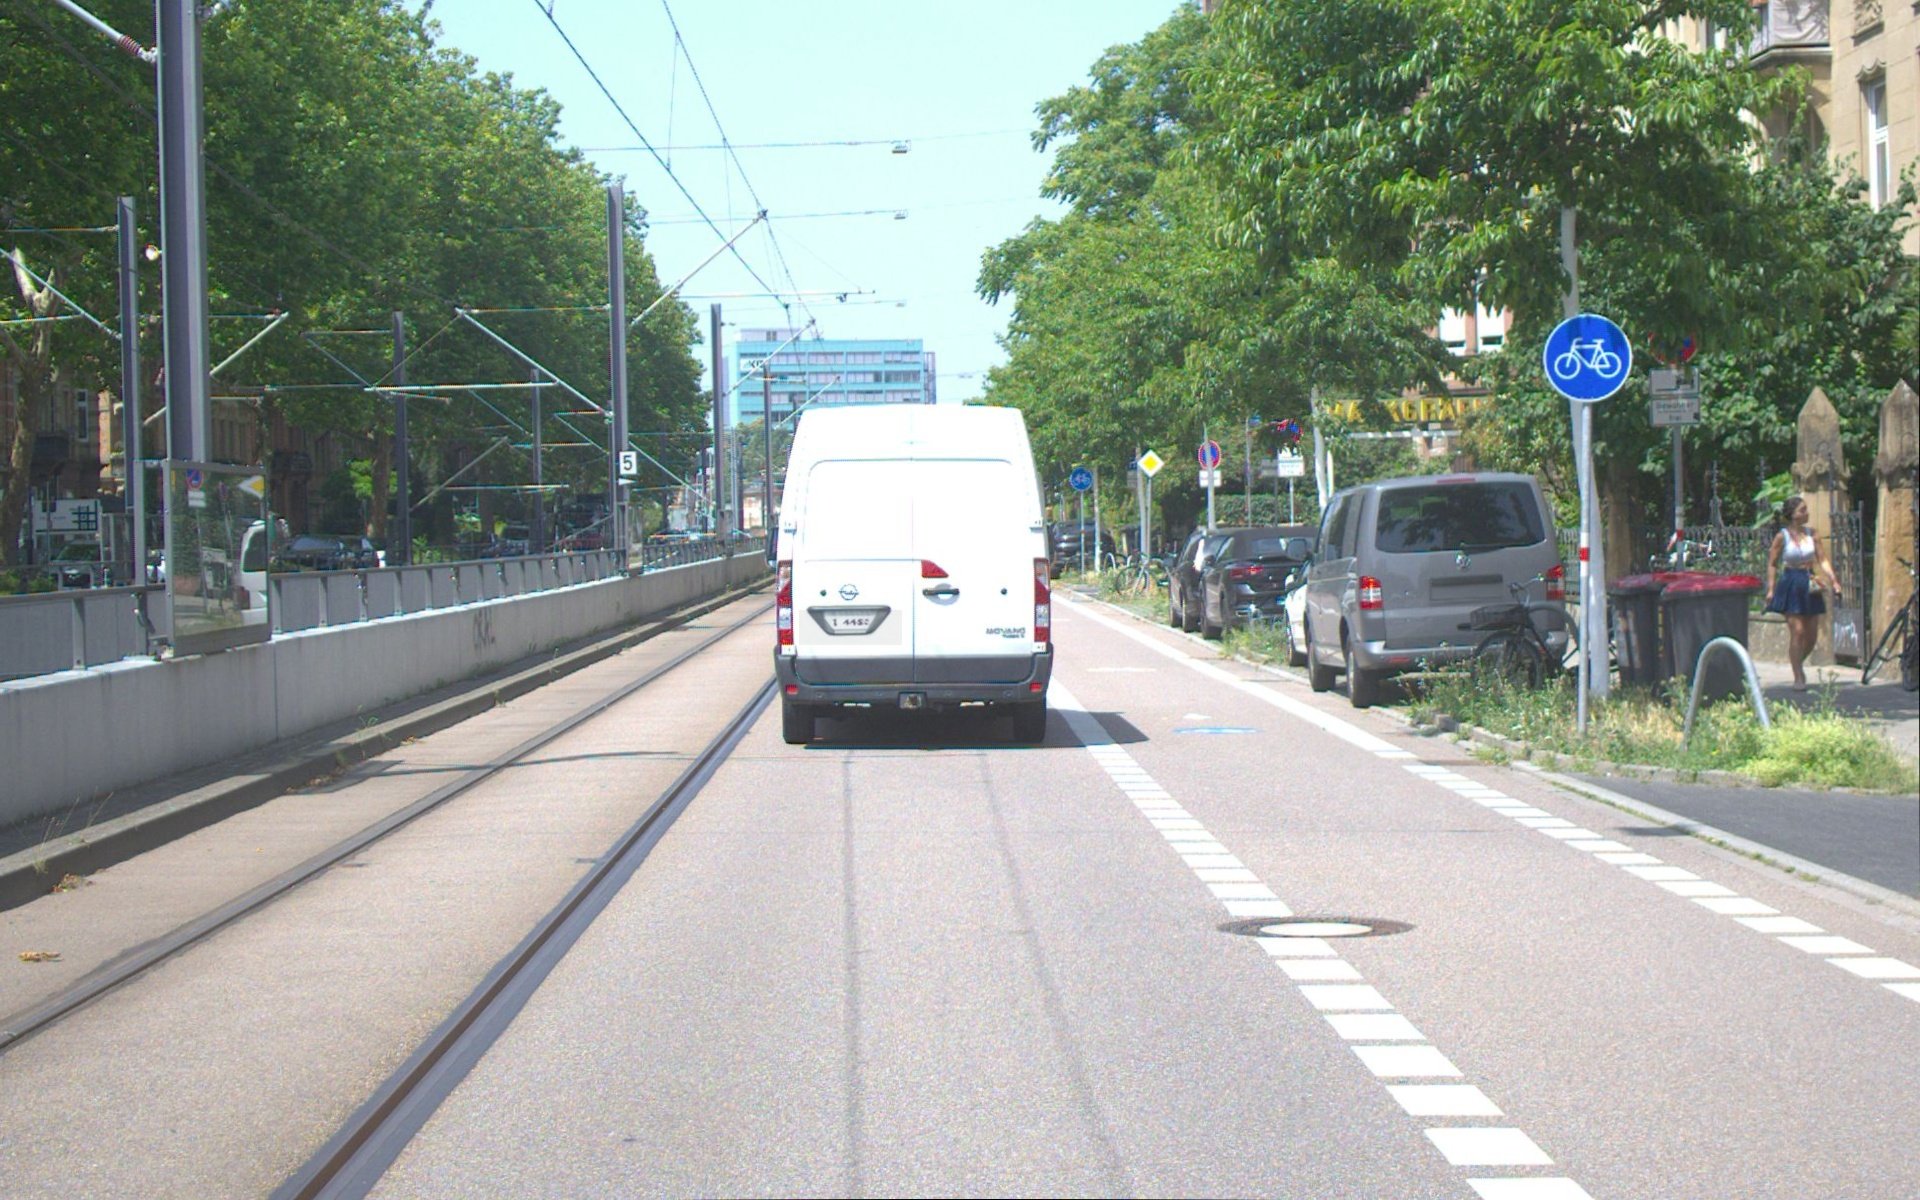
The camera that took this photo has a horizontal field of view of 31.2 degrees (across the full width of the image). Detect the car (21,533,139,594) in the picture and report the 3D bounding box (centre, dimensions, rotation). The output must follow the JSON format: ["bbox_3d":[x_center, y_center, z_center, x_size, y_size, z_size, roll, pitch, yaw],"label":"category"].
[{"bbox_3d":[-21.115,-0.893,82.640,1.852,1.396,4.198,-1,1,-2],"label":"car"}]

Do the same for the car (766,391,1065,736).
[{"bbox_3d":[-0.399,-0.326,27.166,2.117,2.450,5.055,-1,1,-2],"label":"car"}]

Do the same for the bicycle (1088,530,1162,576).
[{"bbox_3d":[4.364,-1.241,90.797,1.887,1.178,0.640,-1,1,-2],"label":"bicycle"}]

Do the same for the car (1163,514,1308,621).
[{"bbox_3d":[4.098,-0.523,51.707,1.729,1.530,4.405,-1,1,-1],"label":"car"}]

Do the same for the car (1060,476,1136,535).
[{"bbox_3d":[4.029,-2.766,101.040,2.157,1.664,4.000,0,1,1],"label":"car"}]

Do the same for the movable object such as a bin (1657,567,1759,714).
[{"bbox_3d":[5.517,0.293,25.374,0.669,1.058,0.496,-1,1,6],"label":"movable object such as a bin"}]

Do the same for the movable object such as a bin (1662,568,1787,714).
[{"bbox_3d":[5.490,0.288,24.723,0.787,1.010,0.650,-1,1,6],"label":"movable object such as a bin"}]

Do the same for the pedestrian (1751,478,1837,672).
[{"bbox_3d":[6.950,-0.212,28.665,0.552,1.592,0.728,0,1,2],"label":"pedestrian"}]

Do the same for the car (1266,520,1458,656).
[{"bbox_3d":[4.428,-0.176,38.326,1.611,1.401,4.000,-1,2,-1],"label":"car"}]

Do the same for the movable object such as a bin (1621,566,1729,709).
[{"bbox_3d":[5.402,0.278,26.012,0.746,1.058,0.496,0,1,6],"label":"movable object such as a bin"}]

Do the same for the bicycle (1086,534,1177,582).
[{"bbox_3d":[3.543,-0.863,71.114,1.842,0.950,0.503,-1,1,1],"label":"bicycle"}]

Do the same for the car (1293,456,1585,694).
[{"bbox_3d":[4.290,-0.273,31.516,1.879,1.941,4.837,-2,2,-1],"label":"car"}]

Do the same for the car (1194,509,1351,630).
[{"bbox_3d":[4.152,-0.446,46.162,1.667,1.525,4.013,-1,2,-1],"label":"car"}]

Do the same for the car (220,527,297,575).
[{"bbox_3d":[-21.692,-1.535,106.438,1.592,1.443,4.000,0,1,0],"label":"car"}]

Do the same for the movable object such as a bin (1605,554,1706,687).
[{"bbox_3d":[5.392,0.152,26.673,0.595,1.007,0.566,-1,1,-10],"label":"movable object such as a bin"}]

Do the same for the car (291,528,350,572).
[{"bbox_3d":[-21.285,-1.670,114.500,1.373,1.419,3.088,-1,1,0],"label":"car"}]

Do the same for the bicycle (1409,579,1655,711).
[{"bbox_3d":[4.569,0.351,27.475,1.880,0.988,0.470,-1,1,-10],"label":"bicycle"}]
